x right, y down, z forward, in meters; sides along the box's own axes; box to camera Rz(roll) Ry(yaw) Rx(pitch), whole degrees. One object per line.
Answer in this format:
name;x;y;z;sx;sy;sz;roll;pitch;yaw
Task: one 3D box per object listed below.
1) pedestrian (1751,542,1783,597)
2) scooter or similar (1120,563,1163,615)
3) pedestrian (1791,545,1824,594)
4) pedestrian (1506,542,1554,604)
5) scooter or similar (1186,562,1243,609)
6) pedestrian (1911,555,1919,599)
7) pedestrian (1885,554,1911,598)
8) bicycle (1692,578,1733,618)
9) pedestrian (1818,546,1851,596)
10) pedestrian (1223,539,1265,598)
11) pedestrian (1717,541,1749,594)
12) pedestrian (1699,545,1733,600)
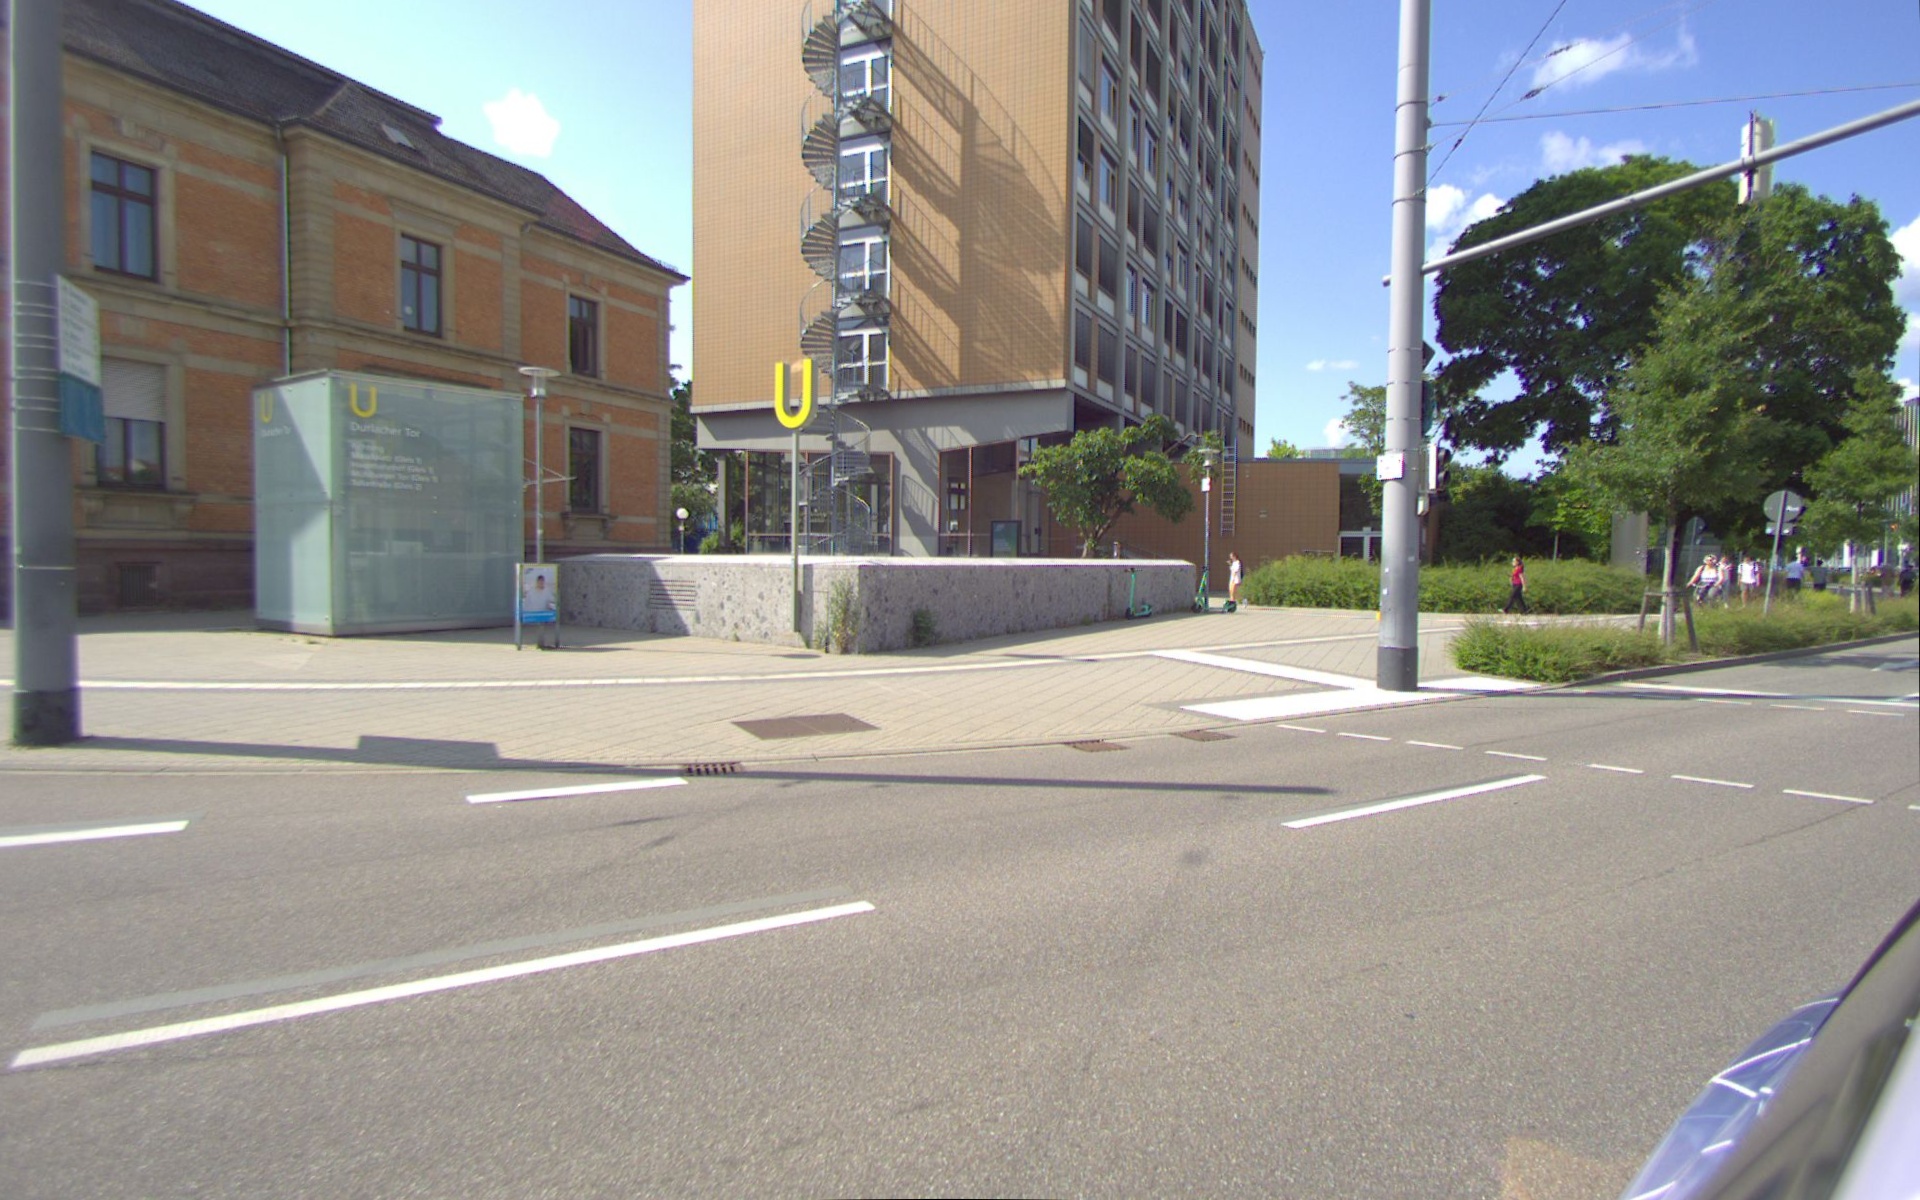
pedestrian;26.365;-1.006;33.049;0.875;1.720;0.615;-3;6;-44
scooter or similar;4.176;-0.267;23.251;0.462;1.131;1.431;3;3;31
pedestrian;31.514;-1.143;37.638;0.875;1.766;0.743;-3;6;-44
pedestrian;15.668;-0.761;27.821;0.873;1.641;0.616;1;4;0
scooter or similar;6.416;-0.369;25.566;1.296;1.117;0.465;2;3;7
pedestrian;38.945;-0.944;40.866;0.766;1.756;0.708;0;1;43
pedestrian;37.907;-0.988;40.910;0.766;1.756;0.708;0;1;43
bicycle;18.227;-0.069;24.494;0.646;0.891;1.795;2;3;41
pedestrian;32.001;-1.078;37.019;0.875;1.774;0.743;-3;6;-44
pedestrian;8.291;-0.926;29.538;1.083;1.641;0.612;3;5;21
pedestrian;25.707;-1.091;33.644;0.875;1.720;0.615;-3;6;-44
pedestrian;23.291;-0.853;31.194;0.875;1.641;0.614;-3;6;-44
